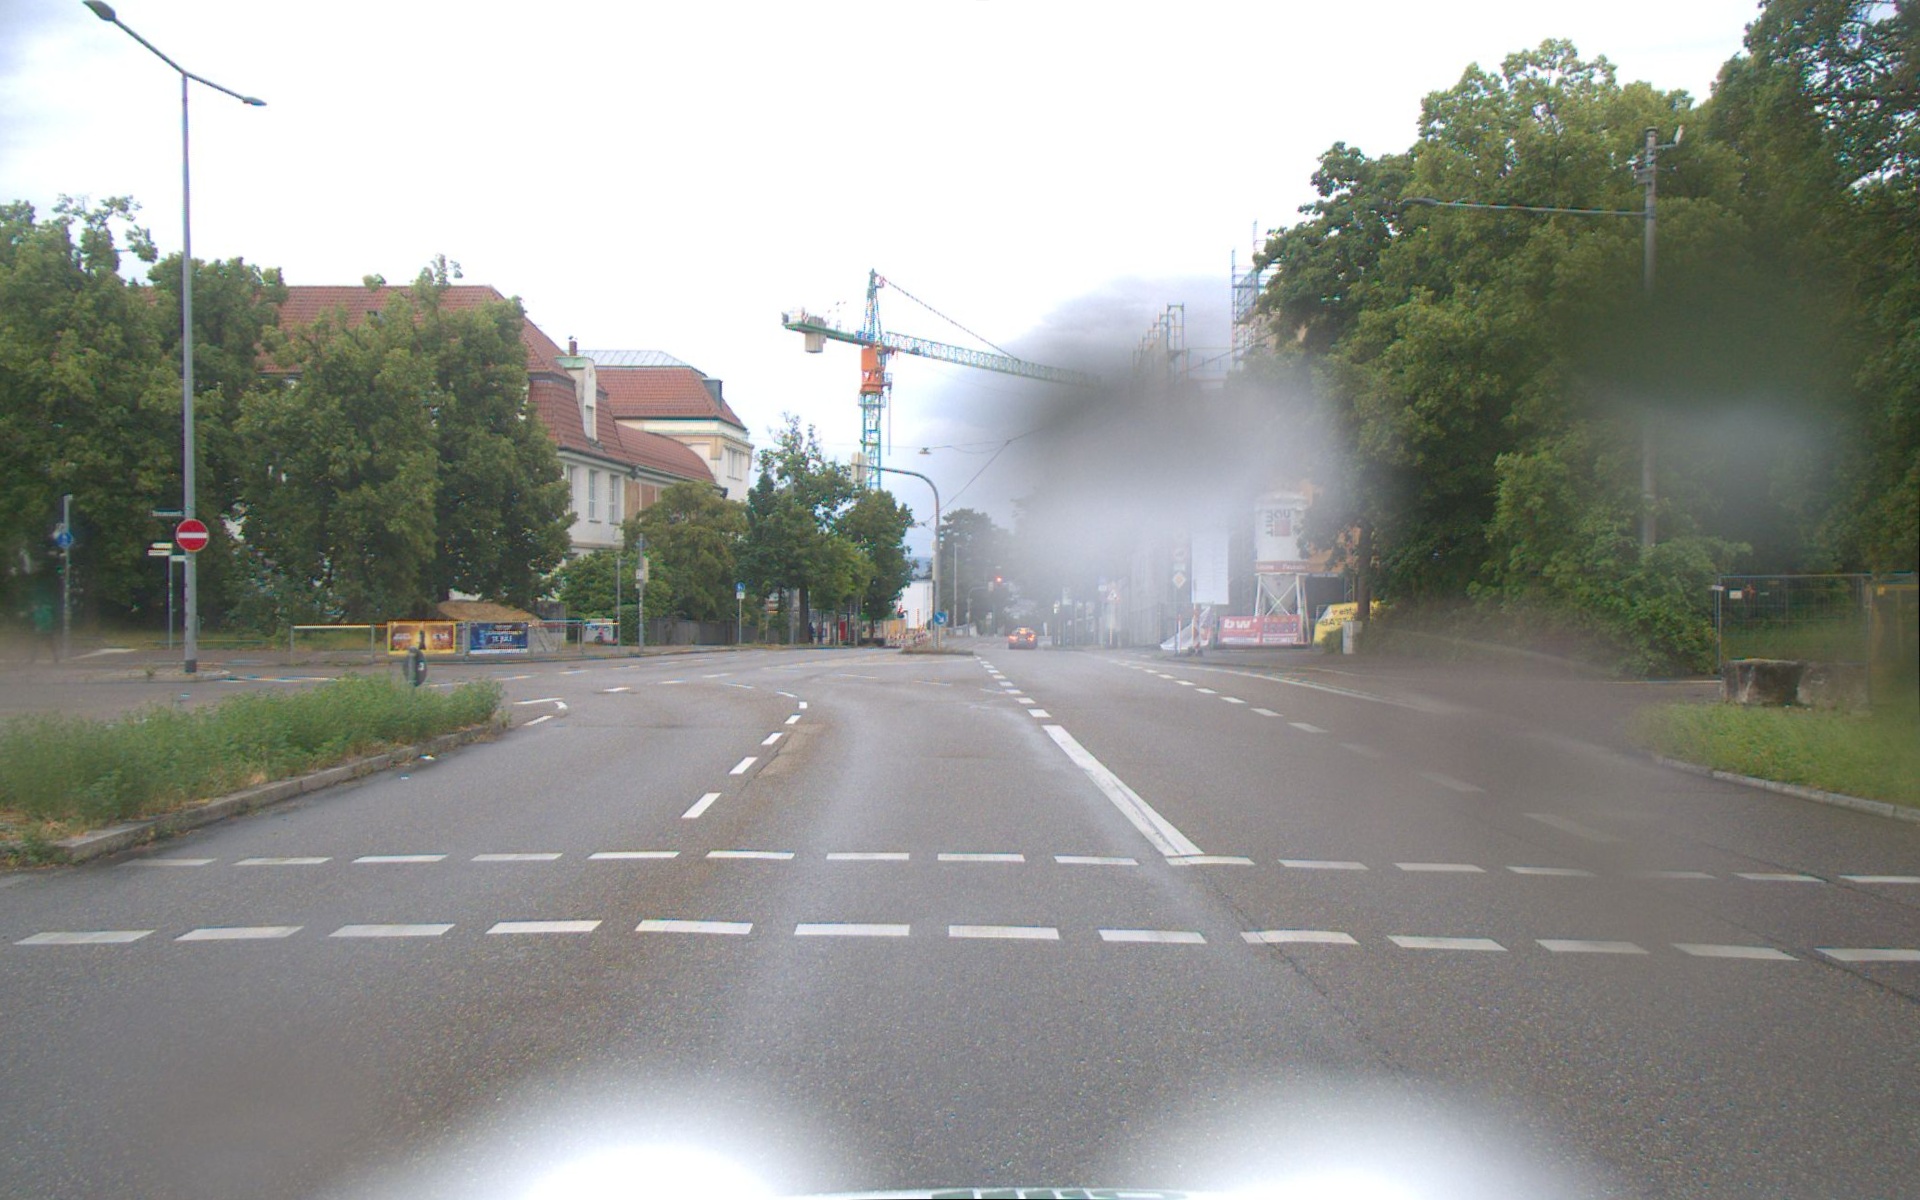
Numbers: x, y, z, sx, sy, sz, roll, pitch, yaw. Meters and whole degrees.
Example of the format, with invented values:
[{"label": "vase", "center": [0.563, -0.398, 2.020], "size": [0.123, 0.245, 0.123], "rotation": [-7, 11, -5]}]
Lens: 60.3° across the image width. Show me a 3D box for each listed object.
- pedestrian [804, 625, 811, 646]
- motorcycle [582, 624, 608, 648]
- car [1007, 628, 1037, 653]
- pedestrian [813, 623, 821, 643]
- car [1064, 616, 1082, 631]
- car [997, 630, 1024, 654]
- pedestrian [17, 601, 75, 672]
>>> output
[{"label": "pedestrian", "center": [-10.833, 2.509, 117.327], "size": [0.465, 1.421, 0.411], "rotation": [-1, 0, -1]}, {"label": "motorcycle", "center": [-14.252, 1.391, 64.565], "size": [0.832, 0.893, 0.877], "rotation": [1, 0, -1]}, {"label": "car", "center": [4.662, 3.064, 124.969], "size": [1.953, 1.780, 3.999], "rotation": [-1, 0, -1]}, {"label": "pedestrian", "center": [-10.134, 2.344, 117.187], "size": [0.465, 1.421, 0.411], "rotation": [0, 0, -1]}, {"label": "car", "center": [14.960, 3.112, 219.523], "size": [1.951, 1.780, 4.003], "rotation": [-1, 0, 10]}, {"label": "car", "center": [4.023, 3.317, 132.011], "size": [1.953, 1.780, 3.999], "rotation": [-1, 0, -1]}, {"label": "pedestrian", "center": [-23.331, 0.923, 42.231], "size": [0.903, 1.757, 0.947], "rotation": [1, 0, 6]}]
